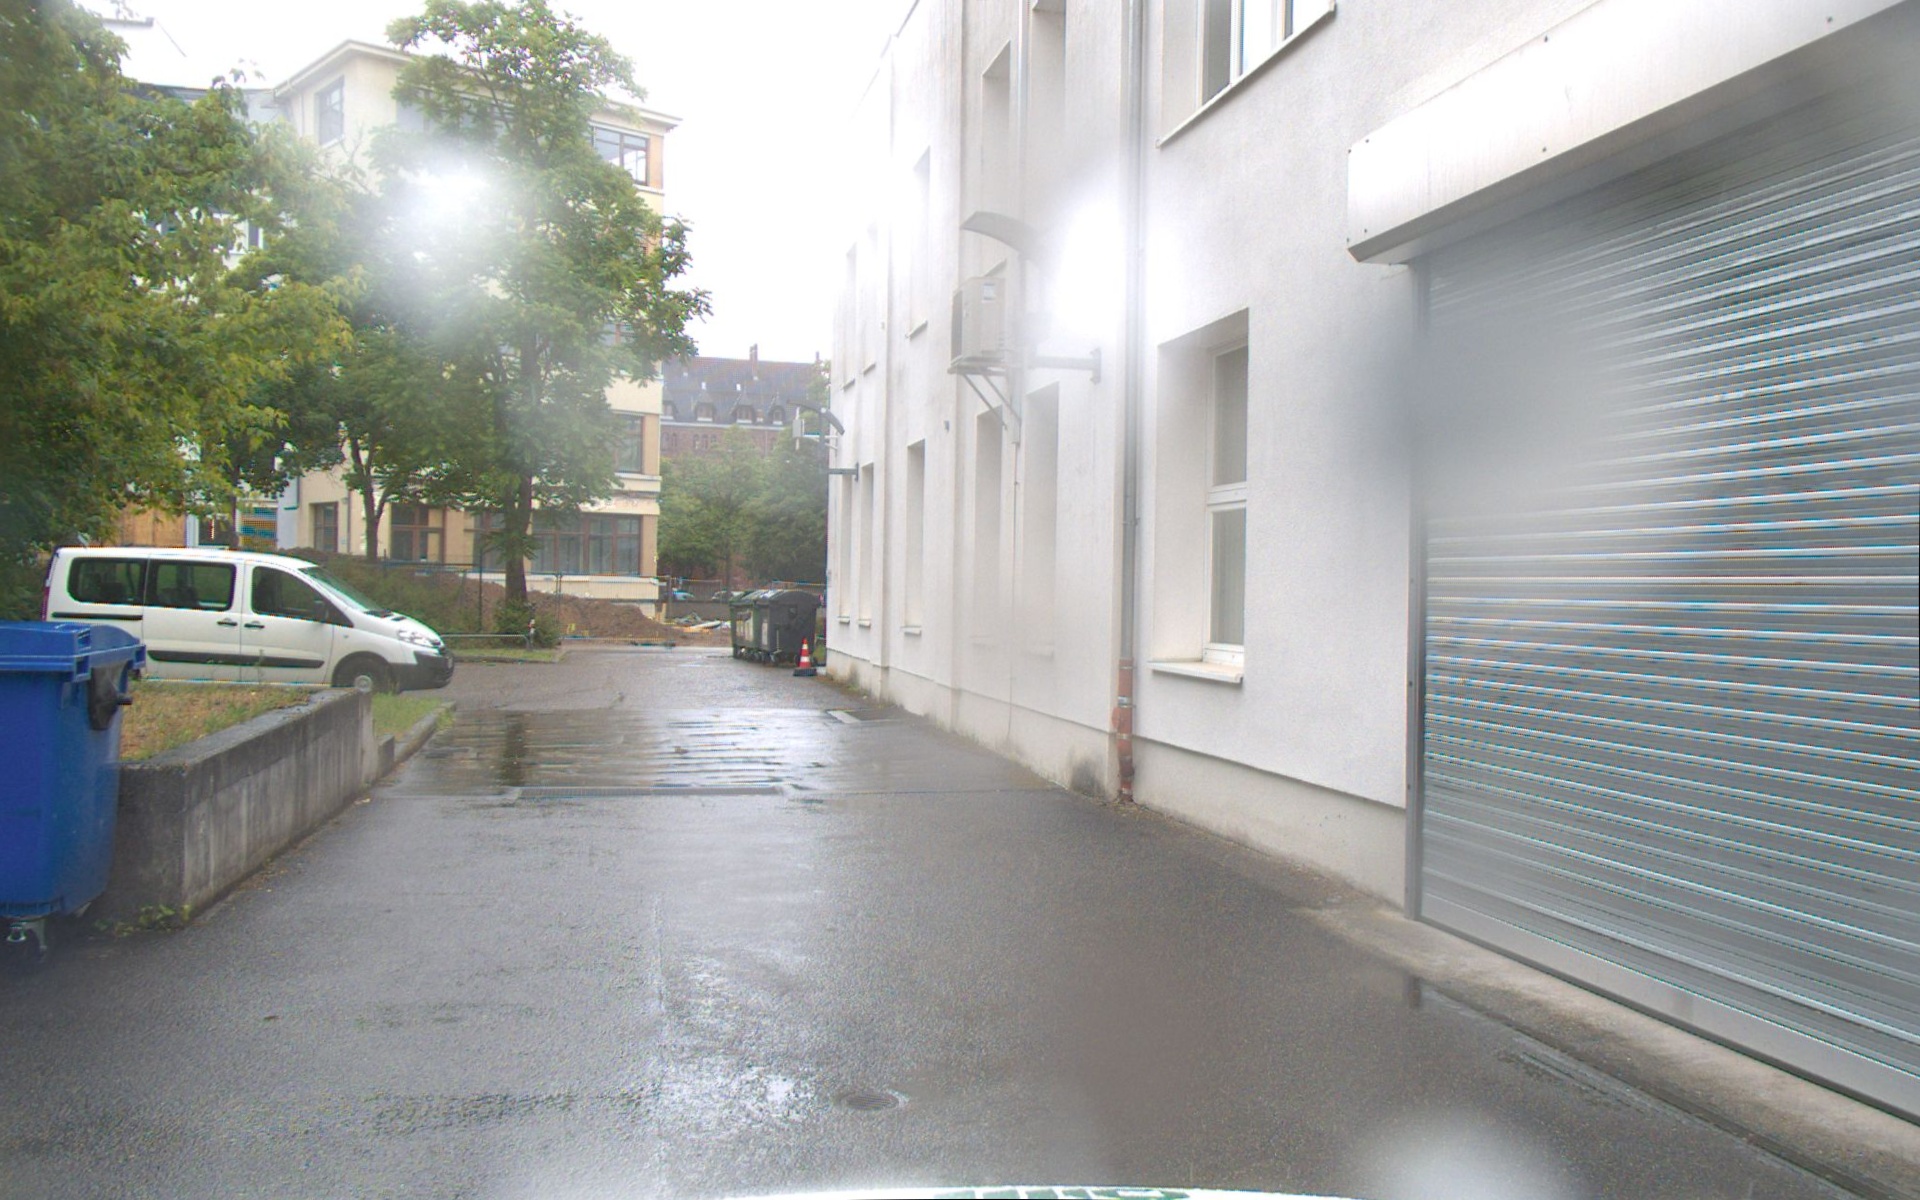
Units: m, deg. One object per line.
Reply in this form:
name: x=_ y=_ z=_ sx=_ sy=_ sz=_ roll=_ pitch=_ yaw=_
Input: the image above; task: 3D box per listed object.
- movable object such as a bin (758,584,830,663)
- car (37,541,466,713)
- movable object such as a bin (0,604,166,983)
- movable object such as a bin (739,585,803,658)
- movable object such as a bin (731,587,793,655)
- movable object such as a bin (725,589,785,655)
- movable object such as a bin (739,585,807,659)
movable object such as a bin: x=-3.211 y=0.468 z=31.878 sx=1.194 sy=1.462 sz=1.231 roll=1 pitch=-2 yaw=-14
car: x=-8.842 y=0.303 z=21.087 sx=4.695 sy=2.049 sz=1.995 roll=0 pitch=1 yaw=-12
movable object such as a bin: x=-3.893 y=0.706 z=6.458 sx=1.200 sy=1.360 sz=1.004 roll=1 pitch=1 yaw=-12
movable object such as a bin: x=-4.023 y=0.472 z=35.092 sx=1.194 sy=1.494 sz=1.231 roll=1 pitch=-2 yaw=-14
movable object such as a bin: x=-4.371 y=0.477 z=36.419 sx=1.194 sy=1.462 sz=1.254 roll=1 pitch=-2 yaw=-14
movable object such as a bin: x=-4.683 y=0.518 z=37.758 sx=1.194 sy=1.462 sz=1.254 roll=1 pitch=-2 yaw=-14
movable object such as a bin: x=-3.787 y=0.463 z=33.475 sx=1.194 sy=1.462 sz=1.289 roll=1 pitch=-2 yaw=-14
